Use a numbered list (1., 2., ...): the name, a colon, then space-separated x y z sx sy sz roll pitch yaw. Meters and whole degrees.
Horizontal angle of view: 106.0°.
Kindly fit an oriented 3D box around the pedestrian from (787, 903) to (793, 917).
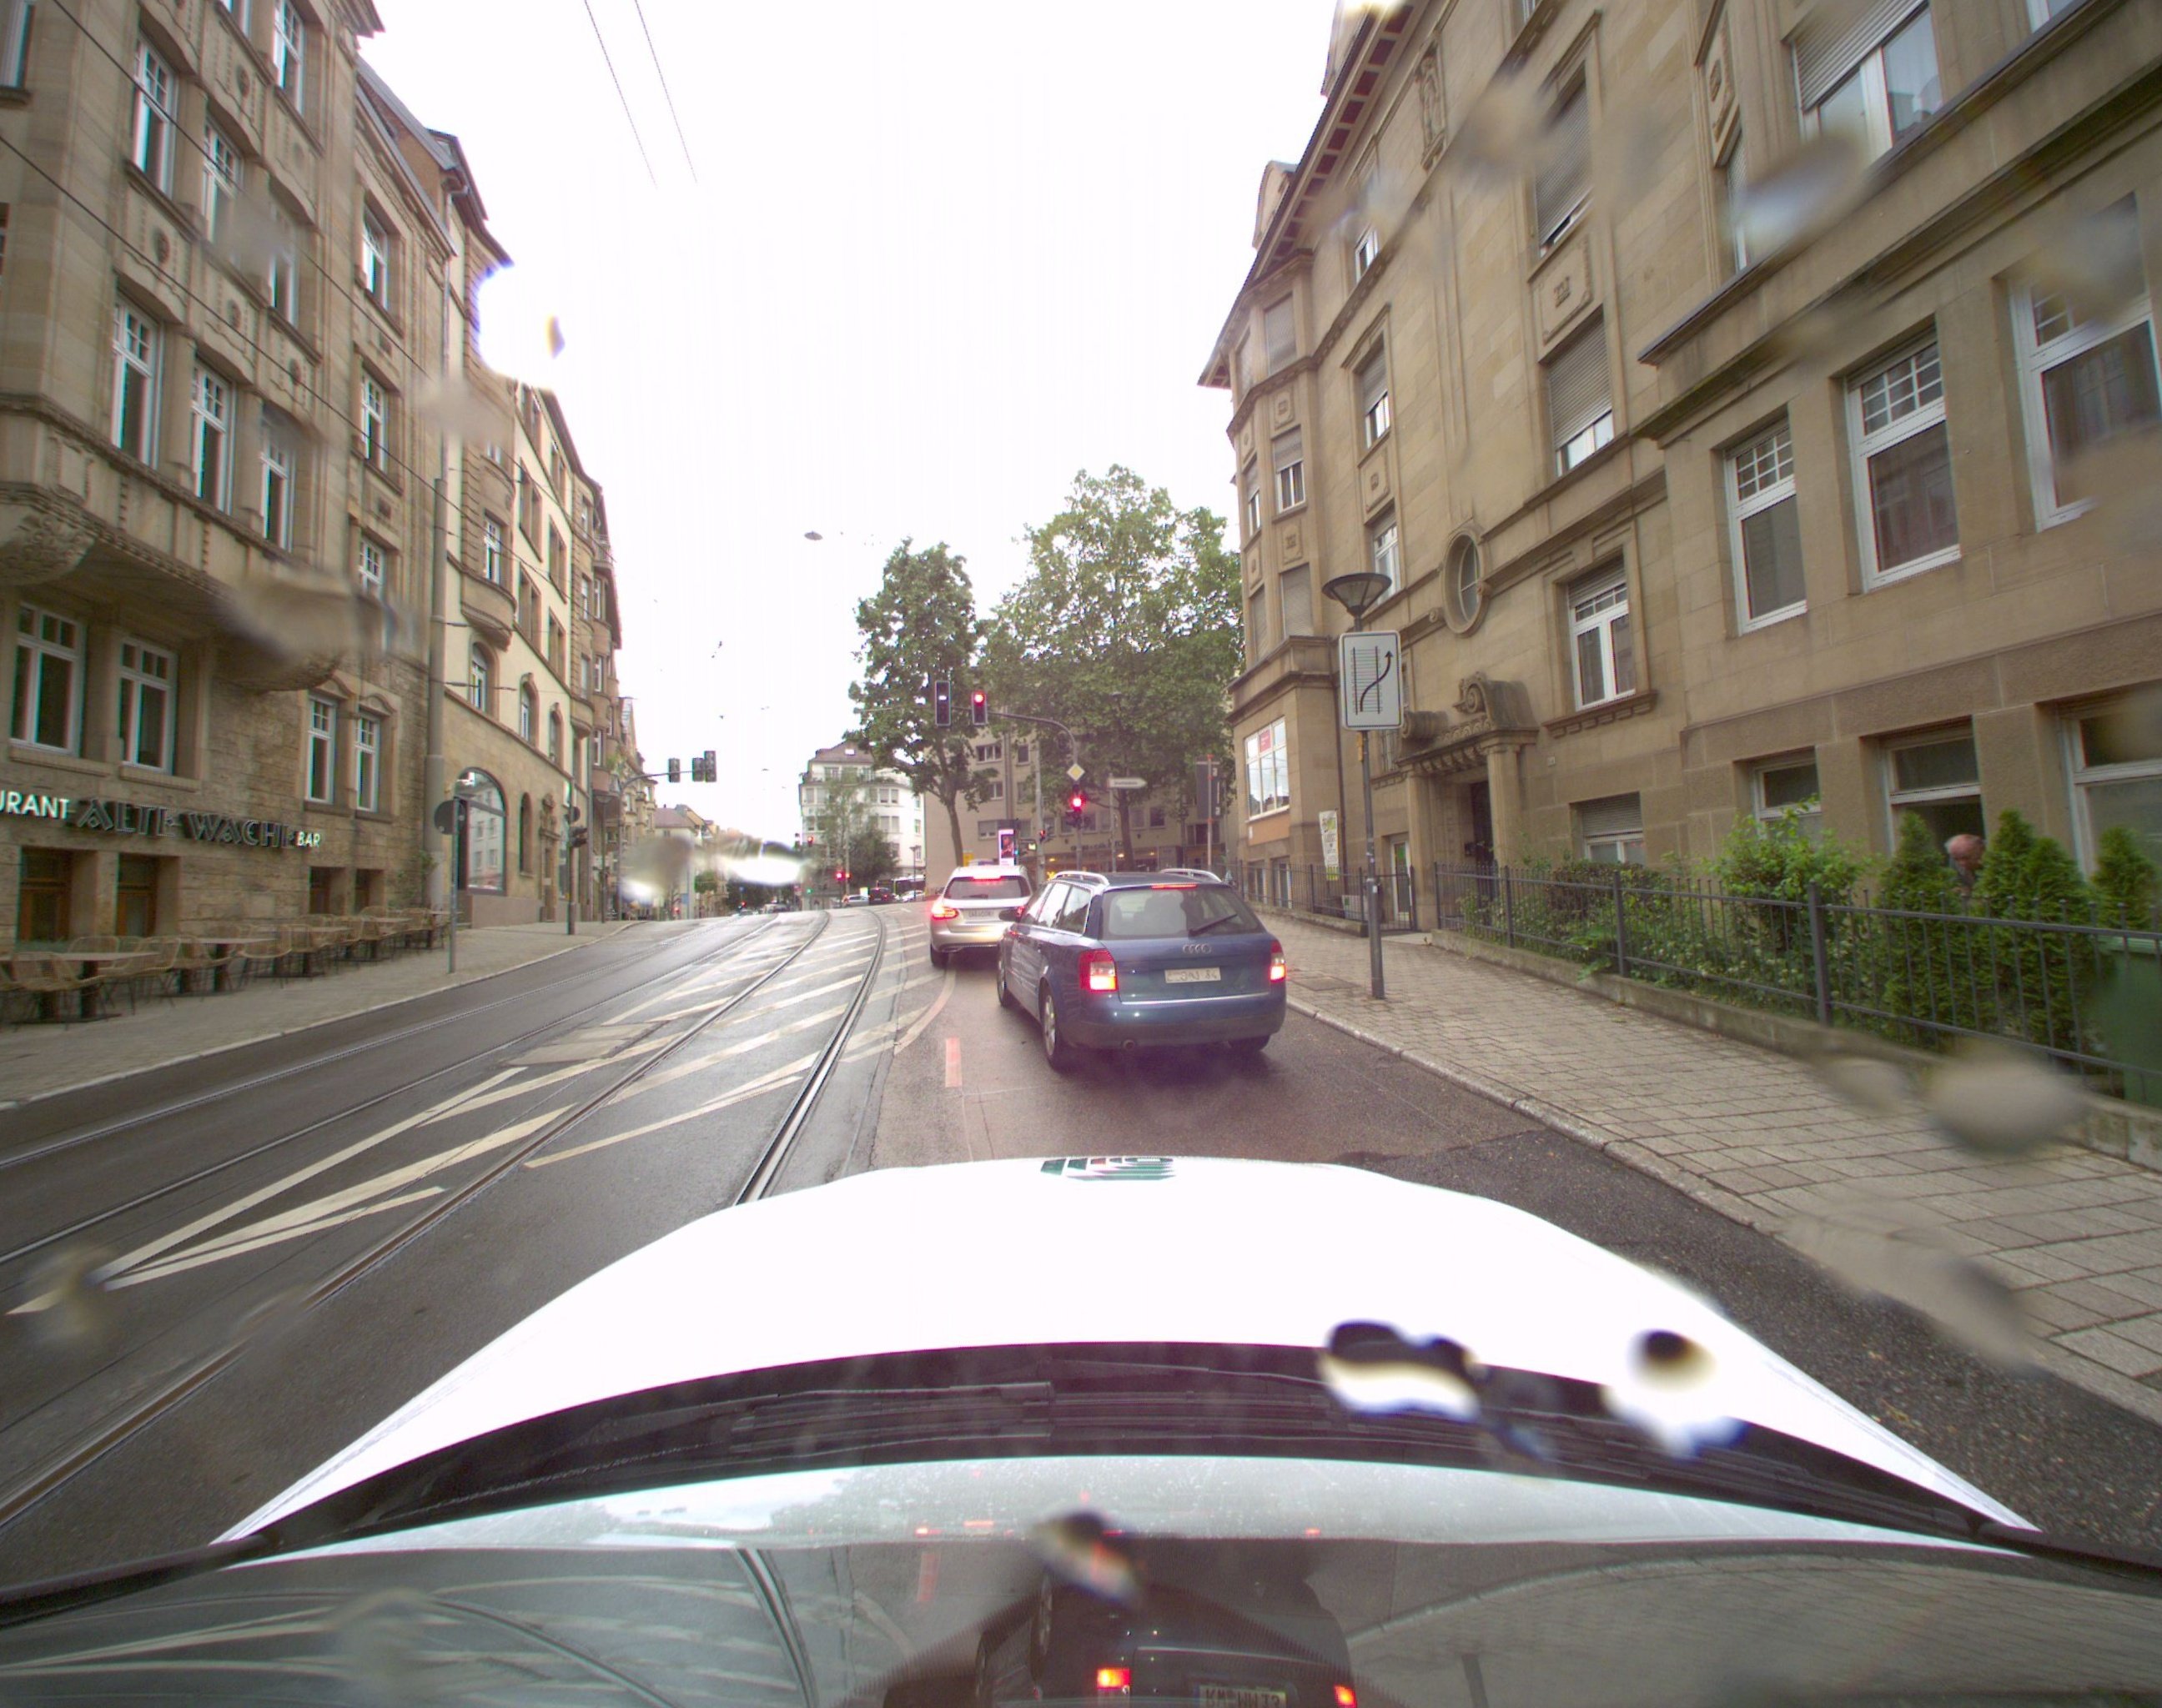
1. pedestrian: -37.240 7.164 104.091 0.650 1.661 0.646 -1 -1 -18

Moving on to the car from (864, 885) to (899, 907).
1. car: -16.713 3.536 68.516 1.788 1.510 4.000 -5 0 1

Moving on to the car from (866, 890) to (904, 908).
1. car: -20.137 4.624 83.889 1.779 1.614 4.020 -3 0 20

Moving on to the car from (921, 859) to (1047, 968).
1. car: -1.501 0.831 13.099 1.708 1.456 3.546 -1 0 -5

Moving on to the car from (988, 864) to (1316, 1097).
1. car: 0.295 0.834 7.350 1.713 1.415 4.016 -1 0 -14

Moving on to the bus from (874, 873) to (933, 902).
1. bus: -20.583 3.878 95.098 2.832 2.861 8.771 -3 0 16

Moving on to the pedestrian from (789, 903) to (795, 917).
1. pedestrian: -36.093 7.026 101.729 0.650 1.661 0.646 -1 -1 -18

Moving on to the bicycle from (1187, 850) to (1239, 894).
1. bicycle: 3.852 0.524 23.790 1.300 1.173 0.524 -4 0 -11

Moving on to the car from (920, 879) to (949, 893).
1. car: -18.410 4.028 102.620 1.779 1.510 4.020 -3 0 20

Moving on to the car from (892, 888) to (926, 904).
1. car: -18.743 4.562 88.939 1.779 1.510 4.020 -3 0 20

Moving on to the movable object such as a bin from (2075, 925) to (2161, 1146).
1. movable object such as a bin: 5.401 0.881 3.915 0.537 1.026 0.602 2 -2 -10

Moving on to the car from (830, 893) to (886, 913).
1. car: -20.573 4.510 75.278 4.689 1.510 1.779 -2 0 -39

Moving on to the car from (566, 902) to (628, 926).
1. car: -38.584 4.767 65.026 4.008 1.510 1.785 -2 0 -26
